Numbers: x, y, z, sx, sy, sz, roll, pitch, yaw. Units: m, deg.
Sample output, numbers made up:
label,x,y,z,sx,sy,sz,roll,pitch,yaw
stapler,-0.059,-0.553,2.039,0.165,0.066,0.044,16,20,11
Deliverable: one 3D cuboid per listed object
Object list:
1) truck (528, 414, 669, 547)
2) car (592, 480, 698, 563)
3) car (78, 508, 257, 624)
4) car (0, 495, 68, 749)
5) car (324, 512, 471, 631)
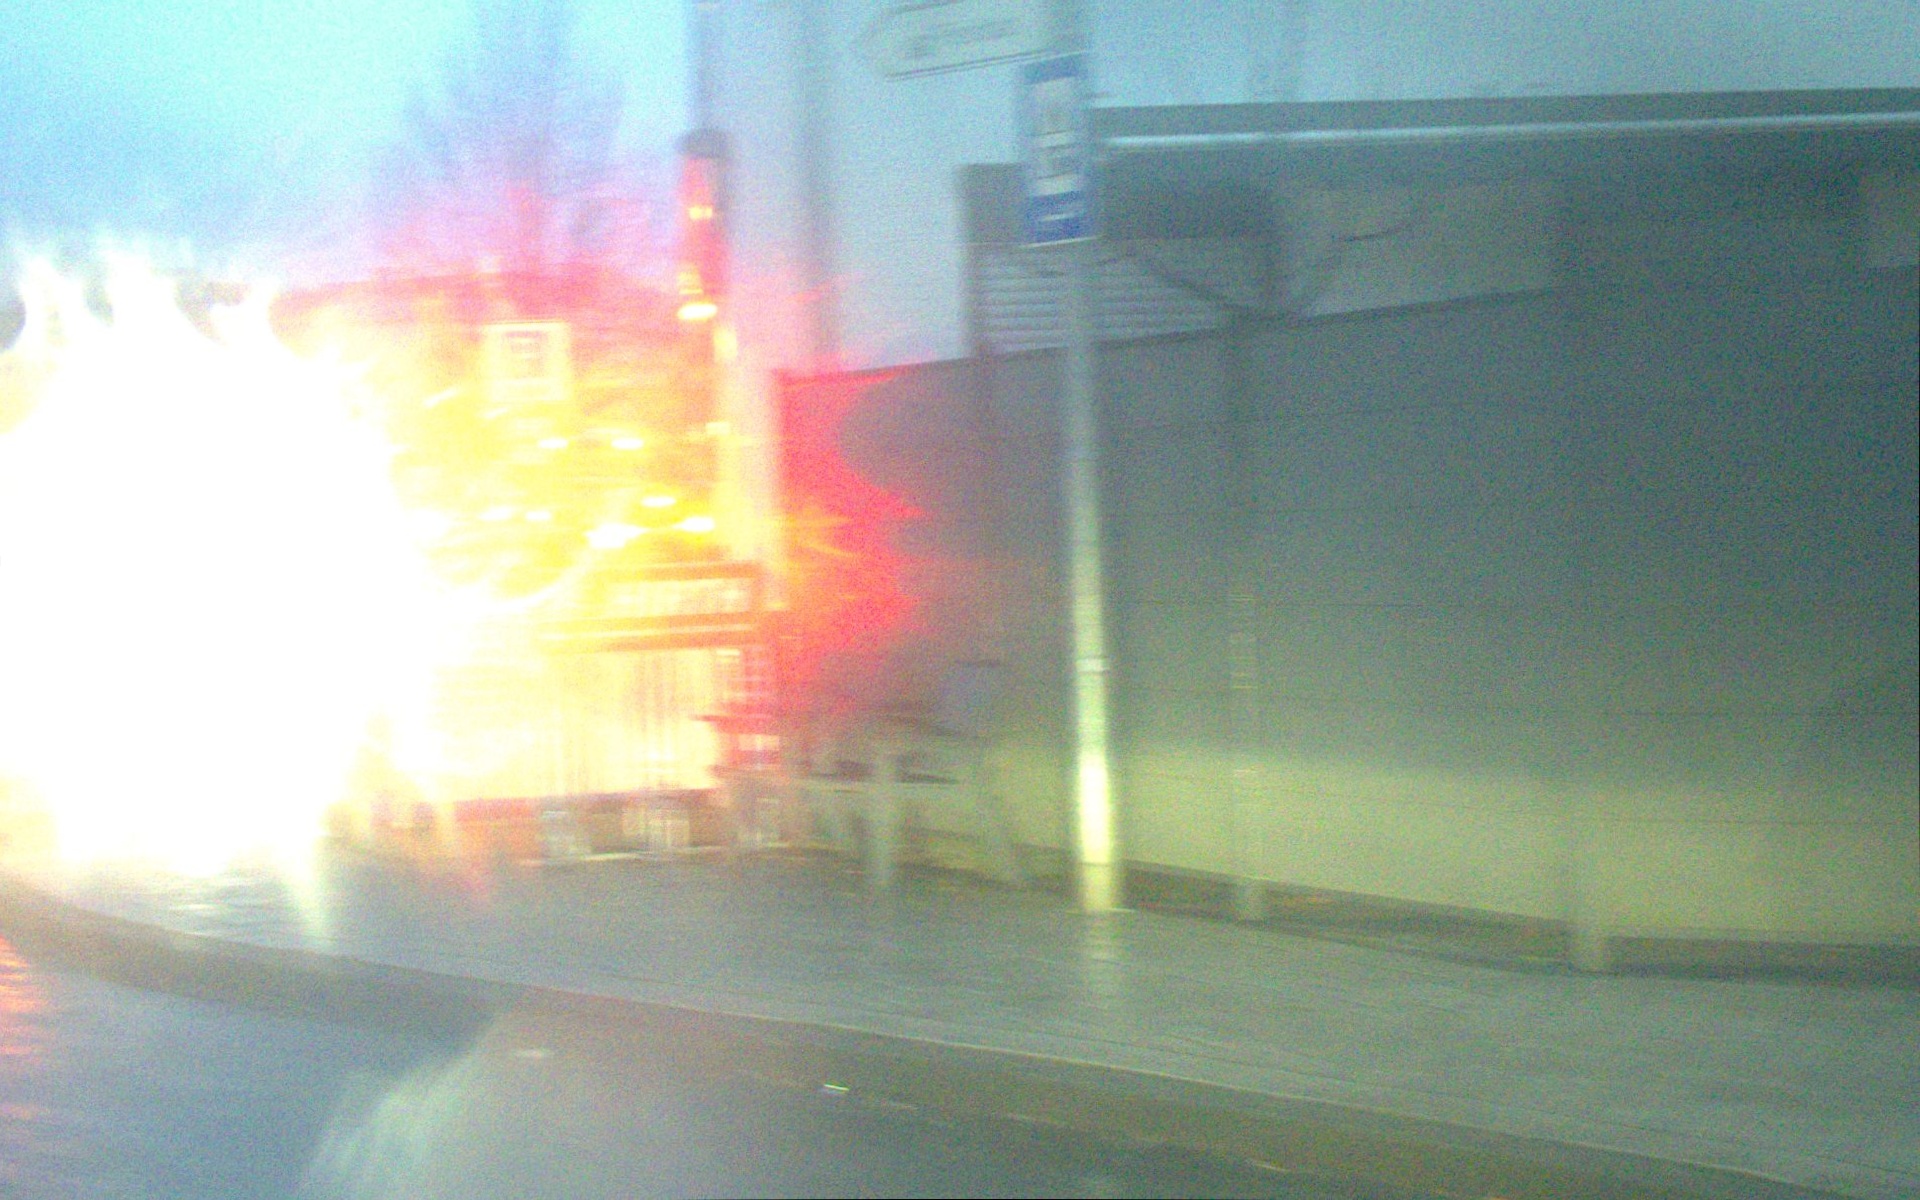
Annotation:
label,x,y,z,sx,sy,sz,roll,pitch,yaw
truck,-8.577,-2.885,82.123,2.715,3.000,5.993,-1,2,-1
car,-6.024,-1.536,66.143,1.690,1.462,3.719,-1,3,-1
car,-11.539,-0.536,50.290,1.740,1.563,4.062,-1,2,-1
car,-7.387,0.113,24.103,1.915,1.609,3.952,-2,3,-11
car,-8.480,-0.462,52.114,1.721,1.626,4.001,-1,2,-3
